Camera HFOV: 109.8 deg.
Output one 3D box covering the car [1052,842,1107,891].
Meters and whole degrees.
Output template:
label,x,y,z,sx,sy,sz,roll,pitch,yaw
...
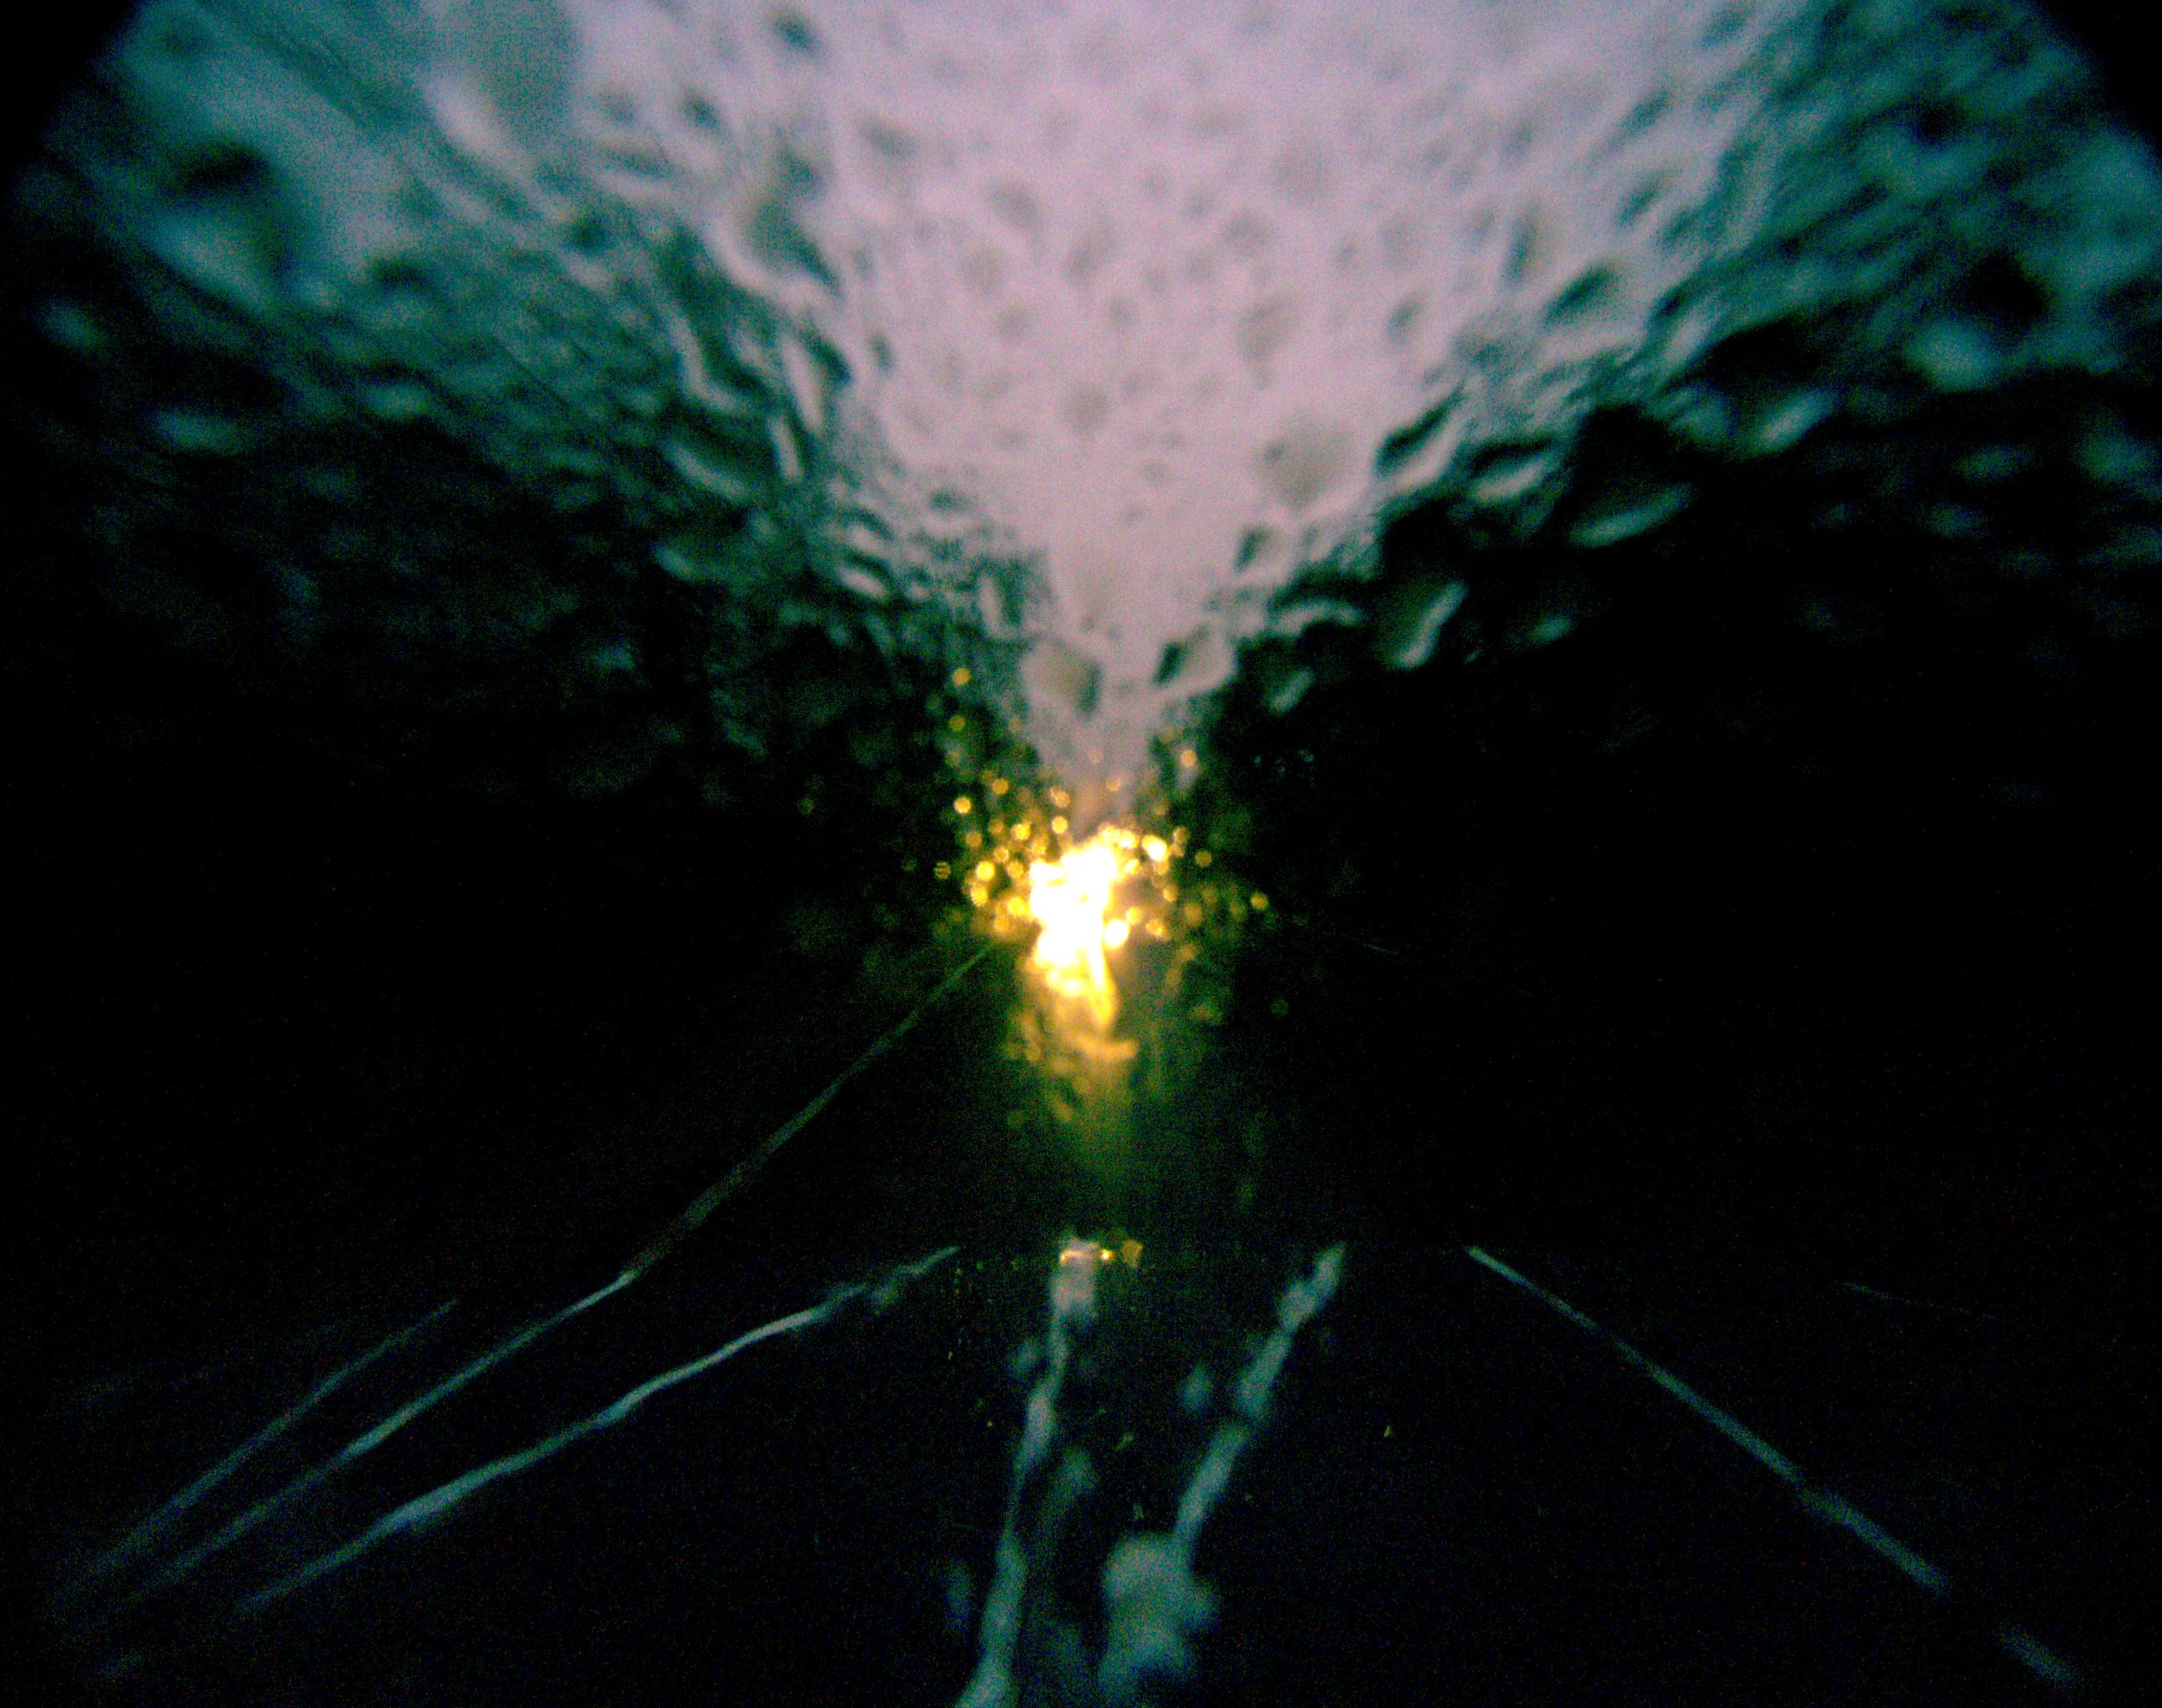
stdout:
label,x,y,z,sx,sy,sz,roll,pitch,yaw
car,0.007,0.566,38.886,2.542,2.213,6.169,-2,0,1
